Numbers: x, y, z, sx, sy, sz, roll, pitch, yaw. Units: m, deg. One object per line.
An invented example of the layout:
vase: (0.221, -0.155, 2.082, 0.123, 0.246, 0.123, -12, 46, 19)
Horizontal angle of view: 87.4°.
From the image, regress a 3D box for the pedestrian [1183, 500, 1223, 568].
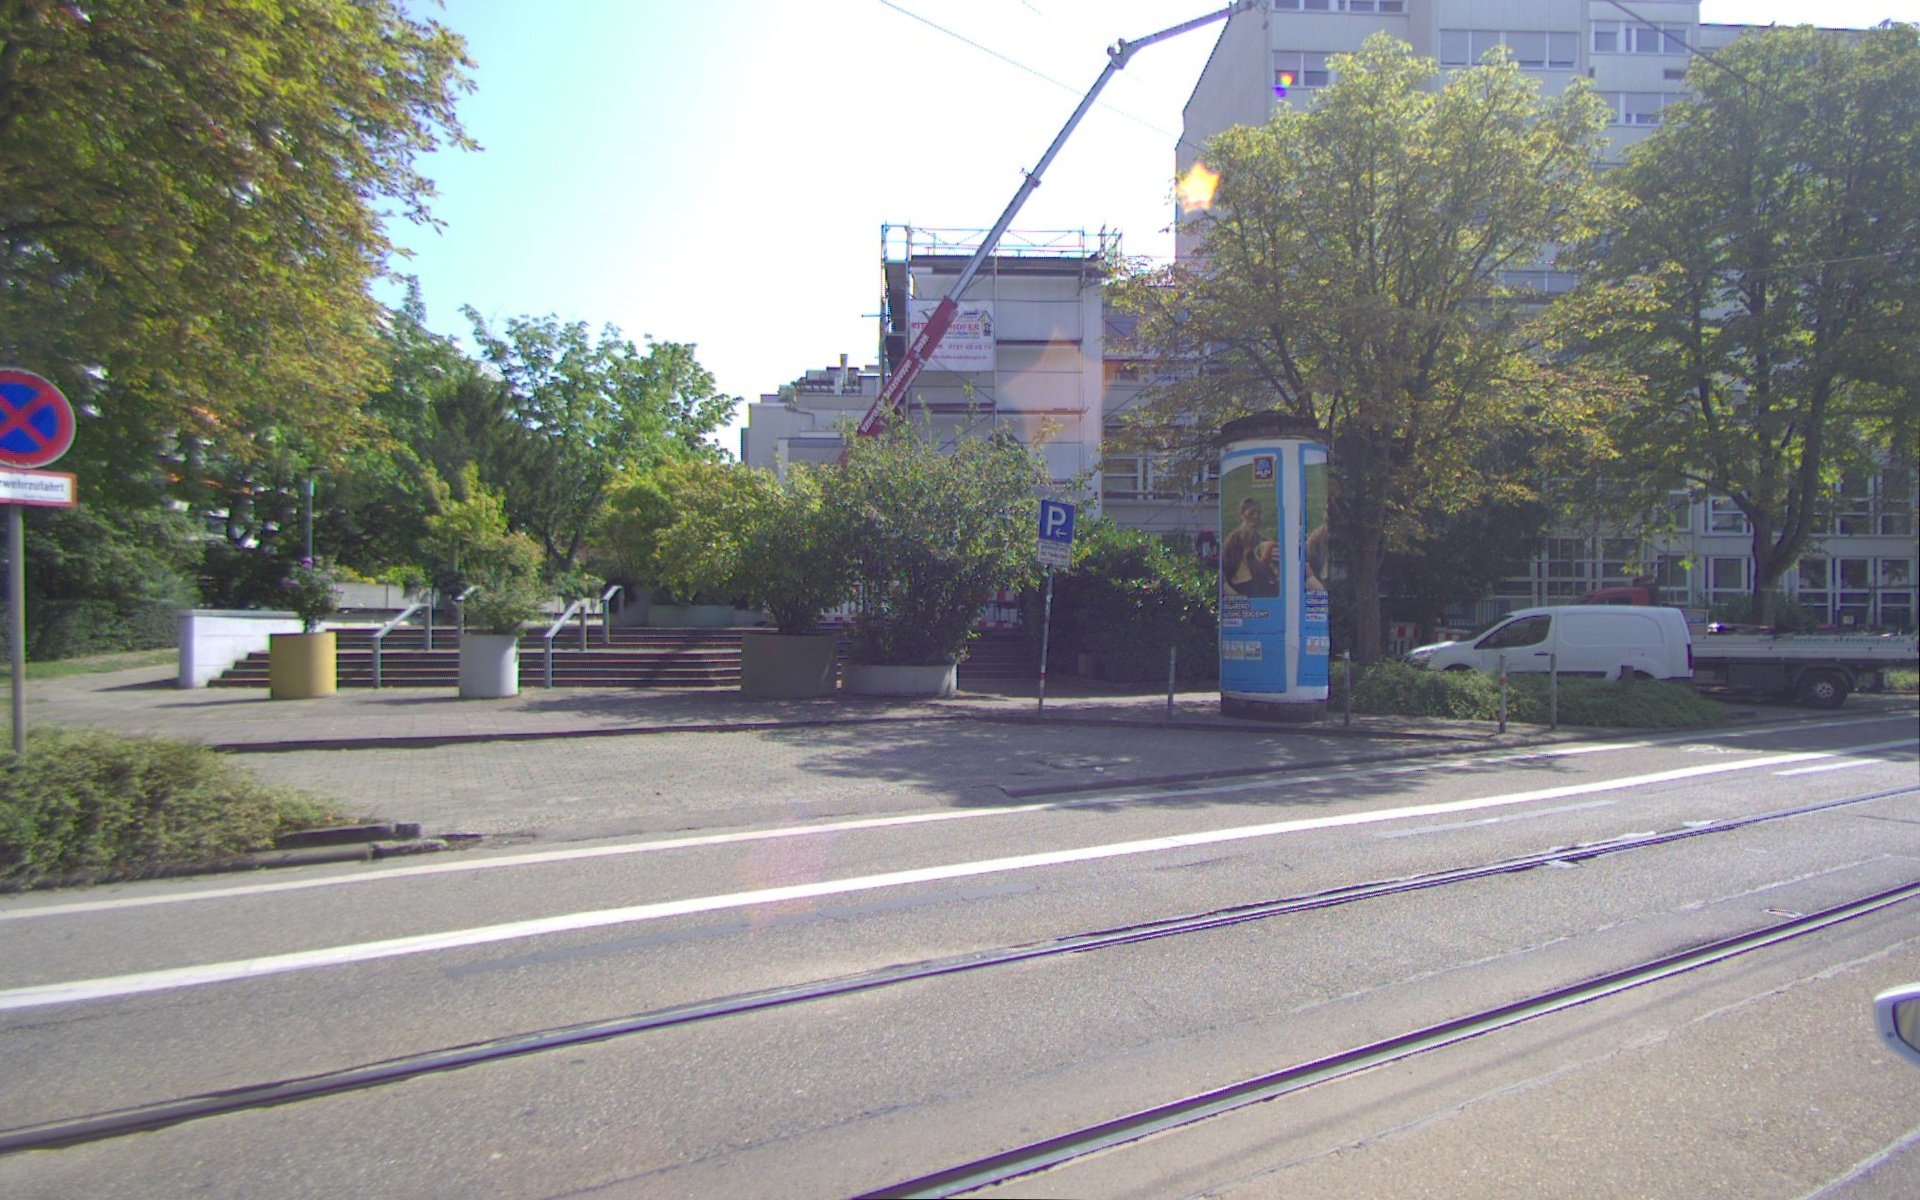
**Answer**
pedestrian: (6.570, -1.771, 27.168, 0.834, 1.749, 0.751, 1, -1, -4)

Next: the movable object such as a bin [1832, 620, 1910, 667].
movable object such as a bin: (31.815, 1.500, 35.090, 1.338, 1.580, 1.675, 1, -2, -29)

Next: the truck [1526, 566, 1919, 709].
truck: (14.456, 0.696, 19.440, 5.854, 2.467, 2.150, -1, -1, 23)

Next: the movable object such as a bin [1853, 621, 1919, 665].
movable object such as a bin: (34.196, 1.575, 36.960, 1.338, 1.580, 1.675, 1, -2, -29)

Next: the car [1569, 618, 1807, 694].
car: (15.536, 1.164, 21.676, 3.783, 1.528, 1.721, 0, -2, 18)

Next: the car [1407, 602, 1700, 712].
car: (10.394, 0.966, 17.970, 4.201, 1.795, 1.826, 0, -1, 19)

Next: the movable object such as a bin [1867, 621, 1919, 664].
movable object such as a bin: (35.497, 1.604, 37.789, 1.338, 1.580, 1.675, 1, -2, -29)

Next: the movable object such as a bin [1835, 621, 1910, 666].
movable object such as a bin: (32.843, 1.546, 36.178, 1.338, 1.580, 1.675, 1, -2, -29)

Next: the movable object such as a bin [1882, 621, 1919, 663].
movable object such as a bin: (36.738, 1.621, 38.558, 1.338, 1.580, 1.675, 1, -2, -29)
